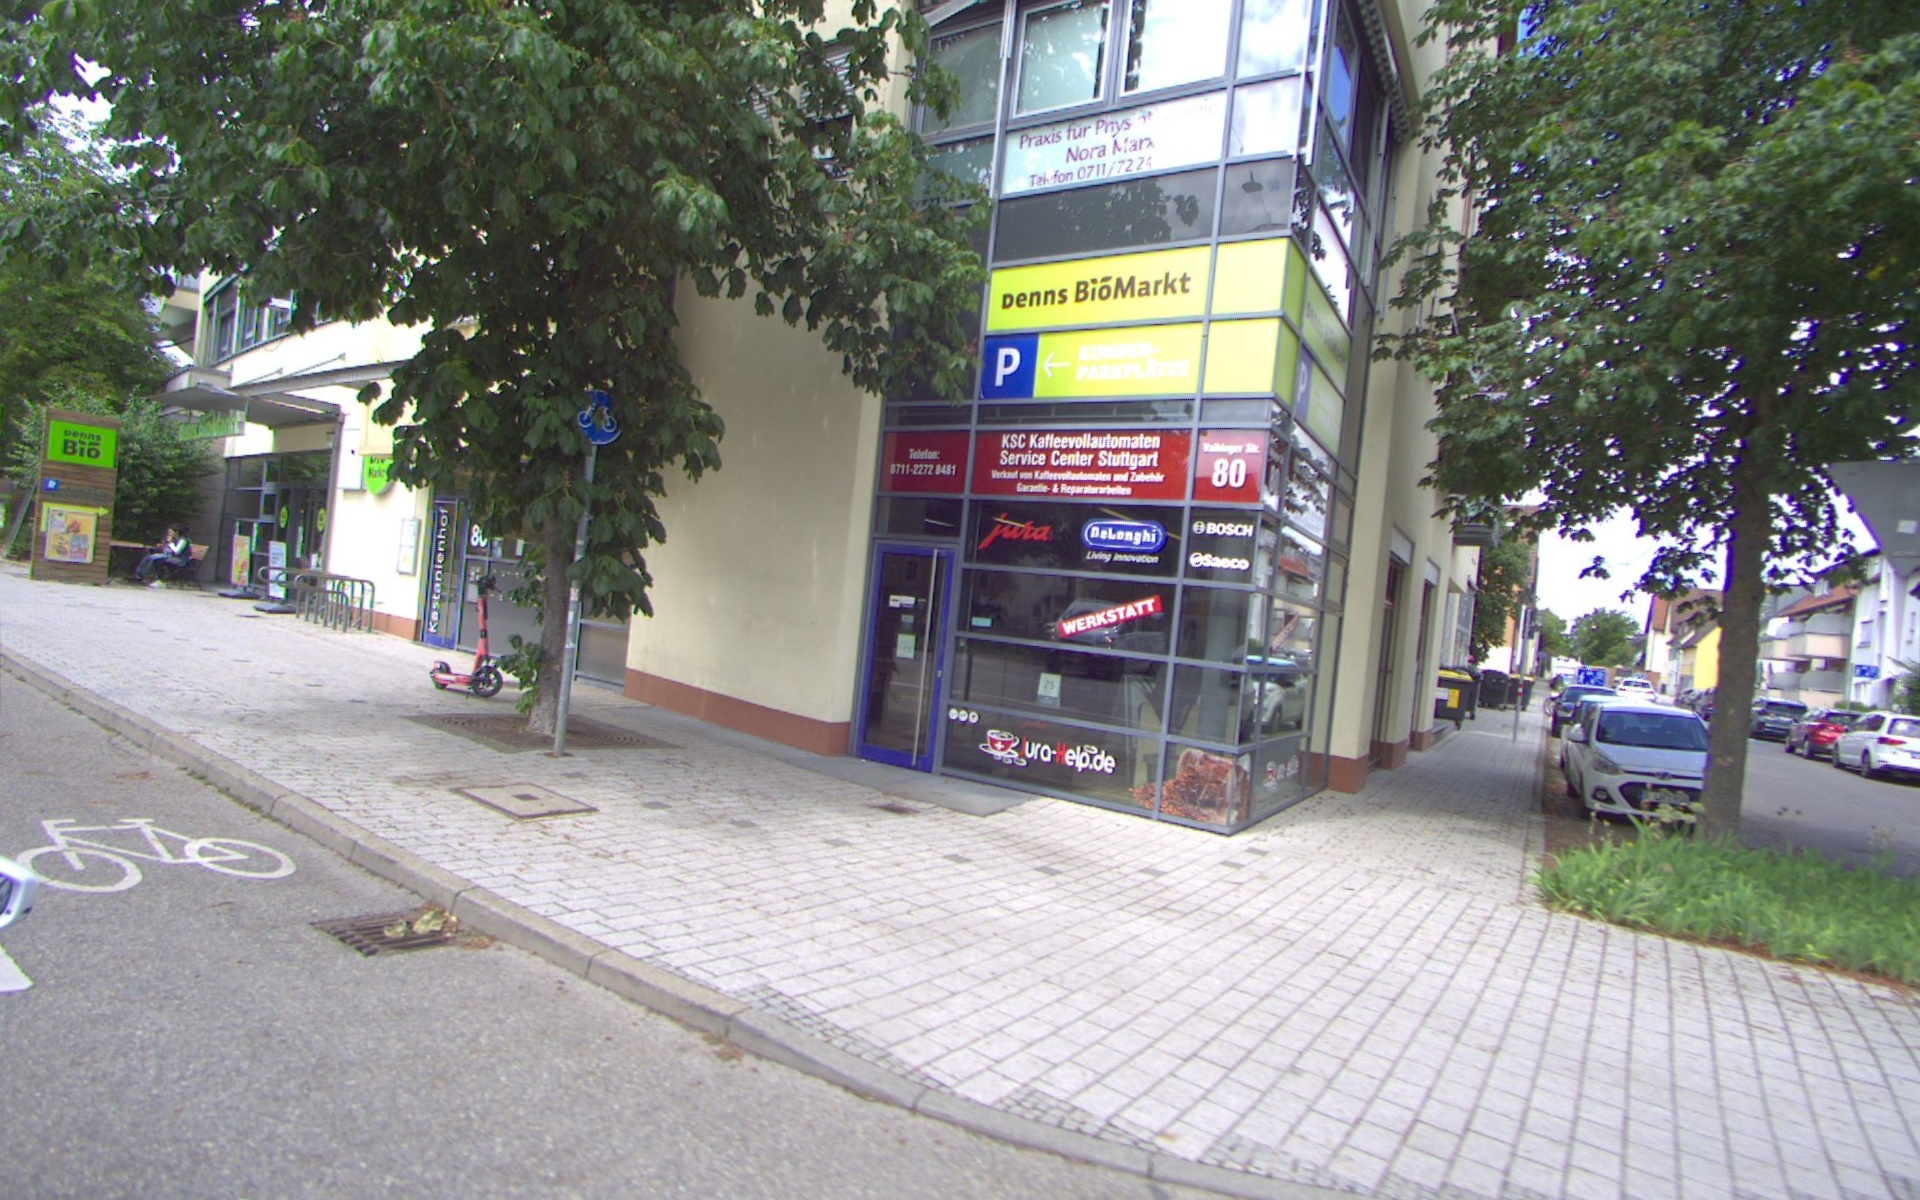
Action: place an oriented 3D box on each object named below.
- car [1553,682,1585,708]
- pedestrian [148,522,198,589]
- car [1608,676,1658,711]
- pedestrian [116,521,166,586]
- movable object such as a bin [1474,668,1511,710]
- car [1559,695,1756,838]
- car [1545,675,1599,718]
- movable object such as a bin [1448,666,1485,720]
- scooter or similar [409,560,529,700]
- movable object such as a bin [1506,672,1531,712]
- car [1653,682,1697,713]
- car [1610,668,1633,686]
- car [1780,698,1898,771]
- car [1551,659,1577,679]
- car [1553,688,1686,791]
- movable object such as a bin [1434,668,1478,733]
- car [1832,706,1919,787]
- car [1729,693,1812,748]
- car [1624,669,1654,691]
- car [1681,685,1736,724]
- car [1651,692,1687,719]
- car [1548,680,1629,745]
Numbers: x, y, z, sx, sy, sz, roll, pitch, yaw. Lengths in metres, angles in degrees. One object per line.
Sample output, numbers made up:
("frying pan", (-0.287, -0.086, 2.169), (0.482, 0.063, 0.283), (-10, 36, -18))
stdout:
("car", (41.878, 6.511, 69.232), (1.551, 1.463, 3.600), (6, 0, 29))
("pedestrian", (-15.434, -0.873, 19.725), (0.496, 1.218, 0.576), (6, -1, 38))
("car", (36.610, 5.102, 54.778), (1.820, 1.611, 3.669), (6, -2, 29))
("pedestrian", (-16.312, -0.927, 20.047), (0.493, 1.195, 0.522), (6, -1, 28))
("movable object such as a bin", (19.658, 3.287, 37.129), (1.039, 1.437, 0.597), (6, -1, 32))
("car", (9.421, 2.154, 13.869), (1.702, 1.462, 3.602), (6, -2, 29))
("car", (24.761, 3.857, 40.786), (1.551, 1.463, 3.600), (6, 0, 29))
("movable object such as a bin", (14.478, 2.656, 28.762), (0.758, 1.437, 0.597), (6, -1, 32))
("scooter or similar", (-5.251, 0.305, 10.720), (1.436, 1.332, 0.381), (6, -1, 35))
("movable object such as a bin", (21.320, 3.517, 38.402), (0.670, 1.437, 0.597), (6, -1, 32))
("car", (44.523, 6.031, 62.719), (1.703, 1.627, 3.972), (6, 0, 30))
("car", (76.413, 8.879, 116.250), (1.820, 1.776, 3.668), (6, -2, 29))
("car", (25.452, 3.846, 29.264), (1.703, 1.627, 3.972), (6, 0, 30))
("car", (52.861, 6.062, 88.115), (1.694, 1.463, 3.599), (6, 0, 30))
("car", (11.712, 2.420, 18.063), (1.551, 1.462, 3.602), (6, -2, 29))
("movable object such as a bin", (11.822, 2.396, 23.963), (0.758, 1.437, 0.597), (6, -1, 32))
("car", (23.083, 3.586, 24.682), (1.703, 1.627, 3.972), (6, 0, 30))
("car", (30.319, 4.461, 37.750), (1.703, 1.627, 3.972), (6, 0, 30))
("car", (63.610, 7.543, 94.310), (1.820, 1.776, 3.668), (6, -2, 29))
("car", (37.467, 5.205, 50.435), (1.703, 1.627, 3.971), (6, 0, 31))
("car", (52.115, 7.733, 73.997), (1.703, 1.627, 3.971), (6, 0, 31))
("car", (17.382, 3.072, 27.936), (1.551, 1.463, 3.600), (6, 0, 29))
